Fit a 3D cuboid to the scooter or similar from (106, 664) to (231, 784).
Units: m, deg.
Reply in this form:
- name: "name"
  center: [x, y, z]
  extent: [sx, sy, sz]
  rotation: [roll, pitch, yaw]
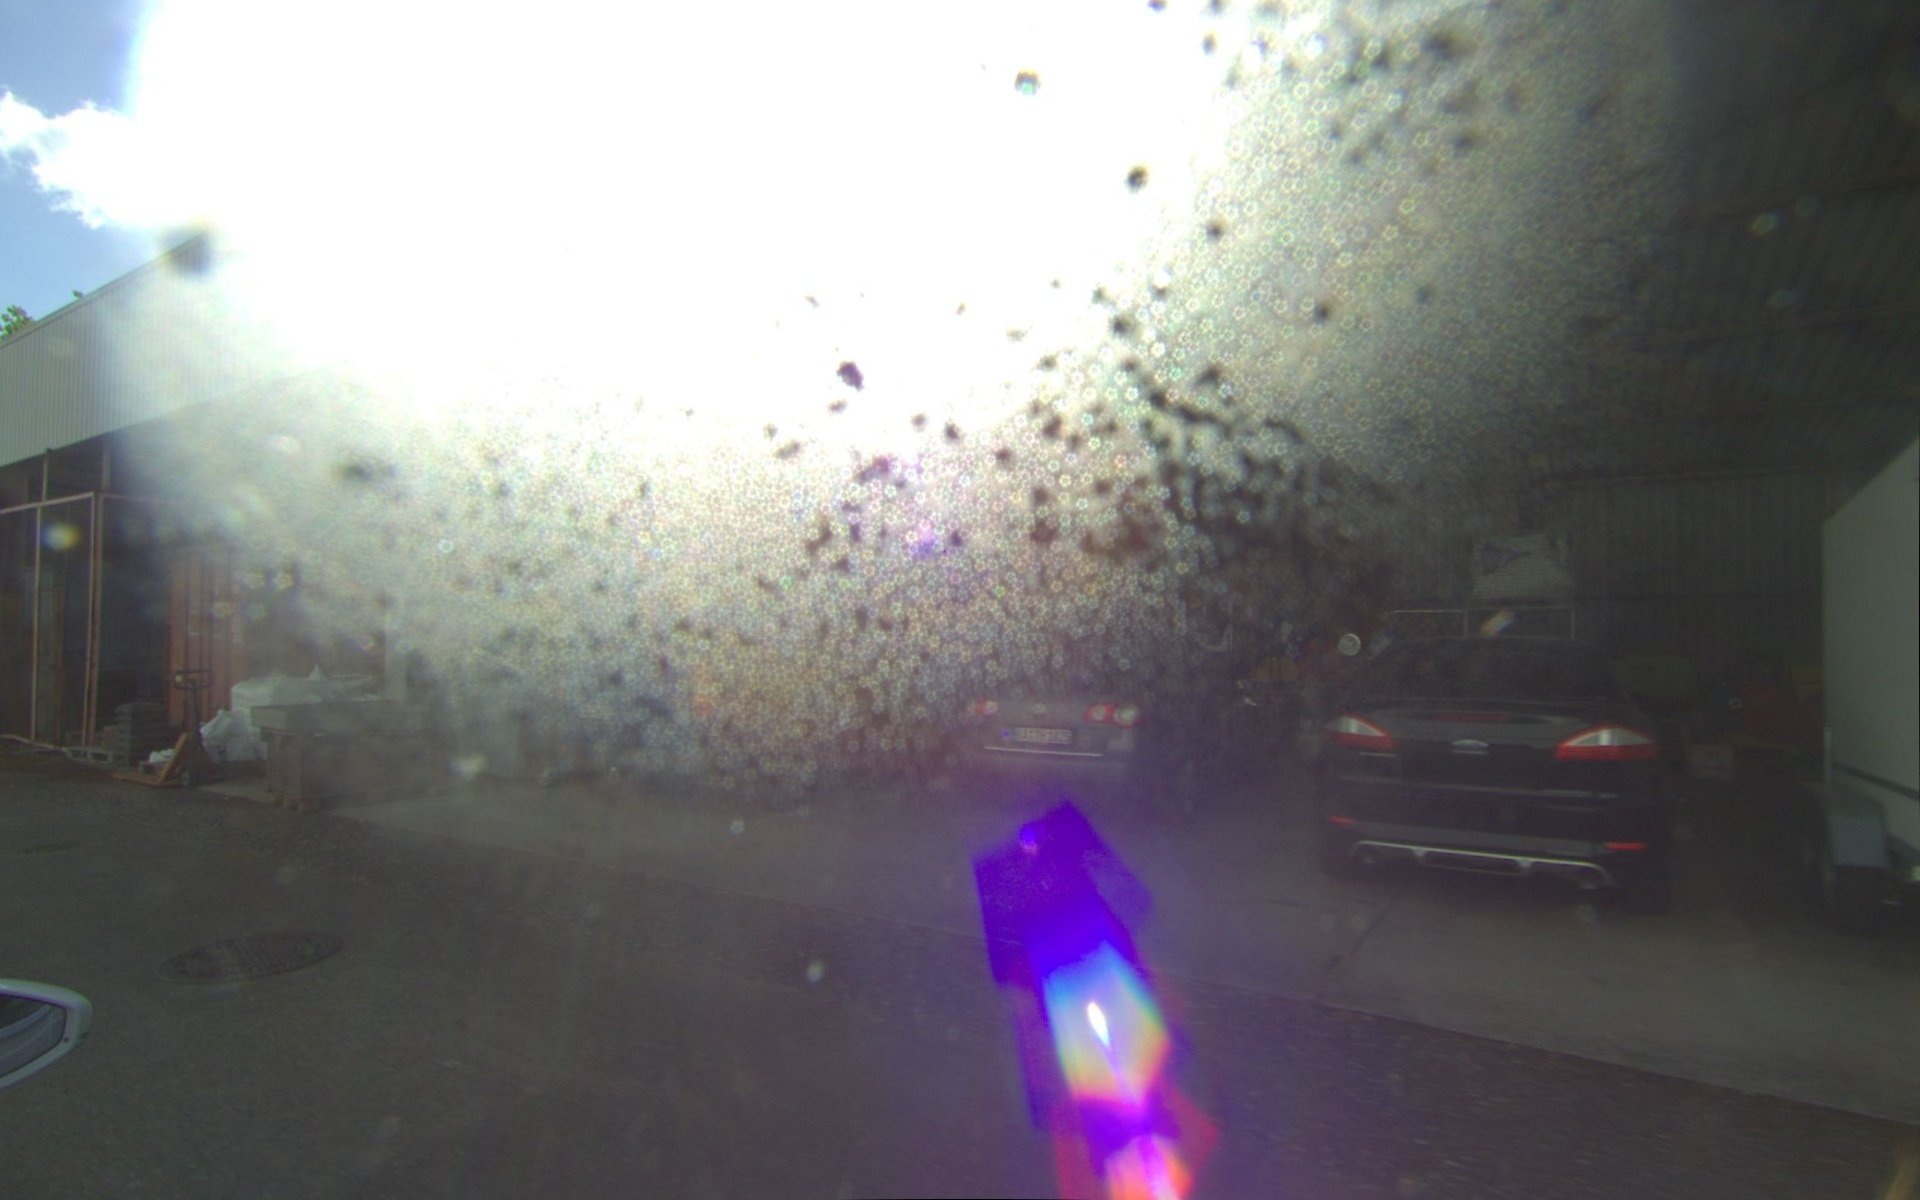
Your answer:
- name: "scooter or similar"
  center: [-8.189, 1.242, 10.347]
  extent: [1.570, 1.148, 0.519]
  rotation: [-2, -3, 33]

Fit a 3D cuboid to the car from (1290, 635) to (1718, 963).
- name: "car"
  center: [3.645, 0.973, 6.821]
  extent: [1.837, 1.451, 4.340]
  rotation: [-1, -2, 30]

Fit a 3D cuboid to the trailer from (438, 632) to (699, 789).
- name: "trailer"
  center: [-4.174, 1.112, 10.808]
  extent: [1.620, 1.480, 2.088]
  rotation: [-2, -3, 36]

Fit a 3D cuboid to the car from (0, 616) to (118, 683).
- name: "car"
  center: [-28.724, 1.474, 29.777]
  extent: [2.243, 1.941, 5.166]
  rotation: [-1, -4, 28]

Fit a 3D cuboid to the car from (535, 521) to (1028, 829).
- name: "car"
  center: [-1.427, 0.706, 10.342]
  extent: [2.054, 2.326, 5.209]
  rotation: [-1, -3, 32]

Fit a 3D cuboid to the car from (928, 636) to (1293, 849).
- name: "car"
  center: [1.607, 1.077, 9.226]
  extent: [1.824, 1.472, 4.100]
  rotation: [-1, -2, 33]

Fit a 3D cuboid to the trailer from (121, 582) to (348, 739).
- name: "trailer"
  center: [-11.174, 0.892, 15.395]
  extent: [3.470, 2.170, 1.575]
  rotation: [-1, -2, 31]

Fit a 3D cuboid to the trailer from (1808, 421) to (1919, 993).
- name: "trailer"
  center: [4.975, 0.452, 4.156]
  extent: [1.665, 2.365, 4.532]
  rotation: [-1, -2, 33]
